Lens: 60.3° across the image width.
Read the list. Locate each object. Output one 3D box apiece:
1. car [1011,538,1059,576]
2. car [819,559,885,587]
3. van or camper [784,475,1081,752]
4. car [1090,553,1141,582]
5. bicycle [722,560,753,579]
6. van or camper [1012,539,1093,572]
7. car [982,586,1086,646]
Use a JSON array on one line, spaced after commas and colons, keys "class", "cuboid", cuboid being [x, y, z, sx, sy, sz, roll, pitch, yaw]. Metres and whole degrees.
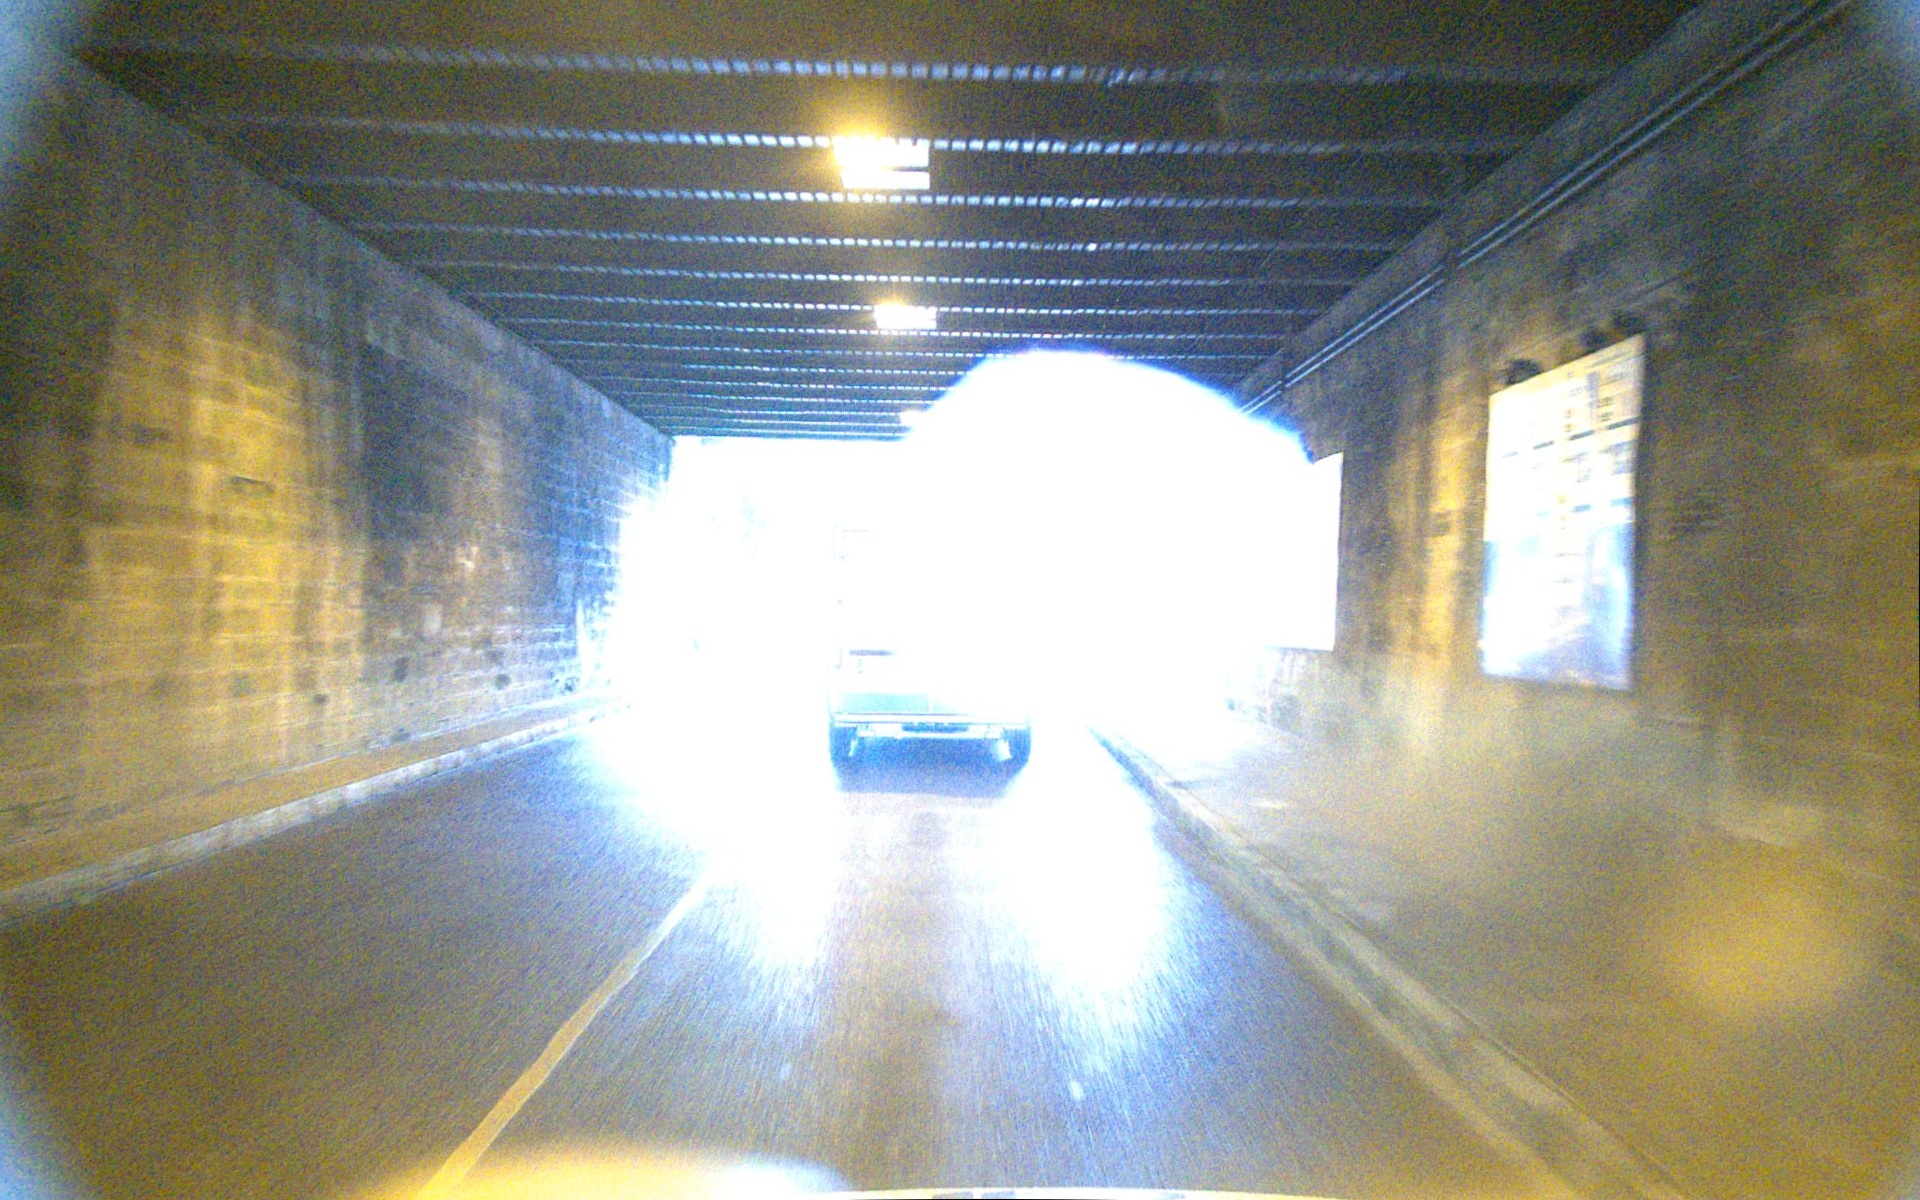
[{"class": "car", "cuboid": [4.004, -2.297, 89.242, 1.955, 1.982, 3.994, 1, 0, -7]}, {"class": "car", "cuboid": [-6.879, -1.698, 105.324, 1.965, 1.718, 3.976, 1, 0, 42]}, {"class": "van or camper", "cuboid": [-0.290, 0.190, 17.283, 2.644, 2.459, 4.901, 1, -2, -1]}, {"class": "car", "cuboid": [8.440, -1.727, 89.828, 1.955, 1.512, 3.994, 1, 0, -7]}, {"class": "bicycle", "cuboid": [-13.515, -1.852, 100.702, 0.908, 1.148, 2.291, 1, 0, 20]}, {"class": "van or camper", "cuboid": [6.093, -2.903, 108.412, 5.196, 2.049, 2.079, 1, 0, 5]}, {"class": "car", "cuboid": [1.966, 0.401, 42.809, 1.797, 1.463, 4.105, 0, 0, 16]}]
